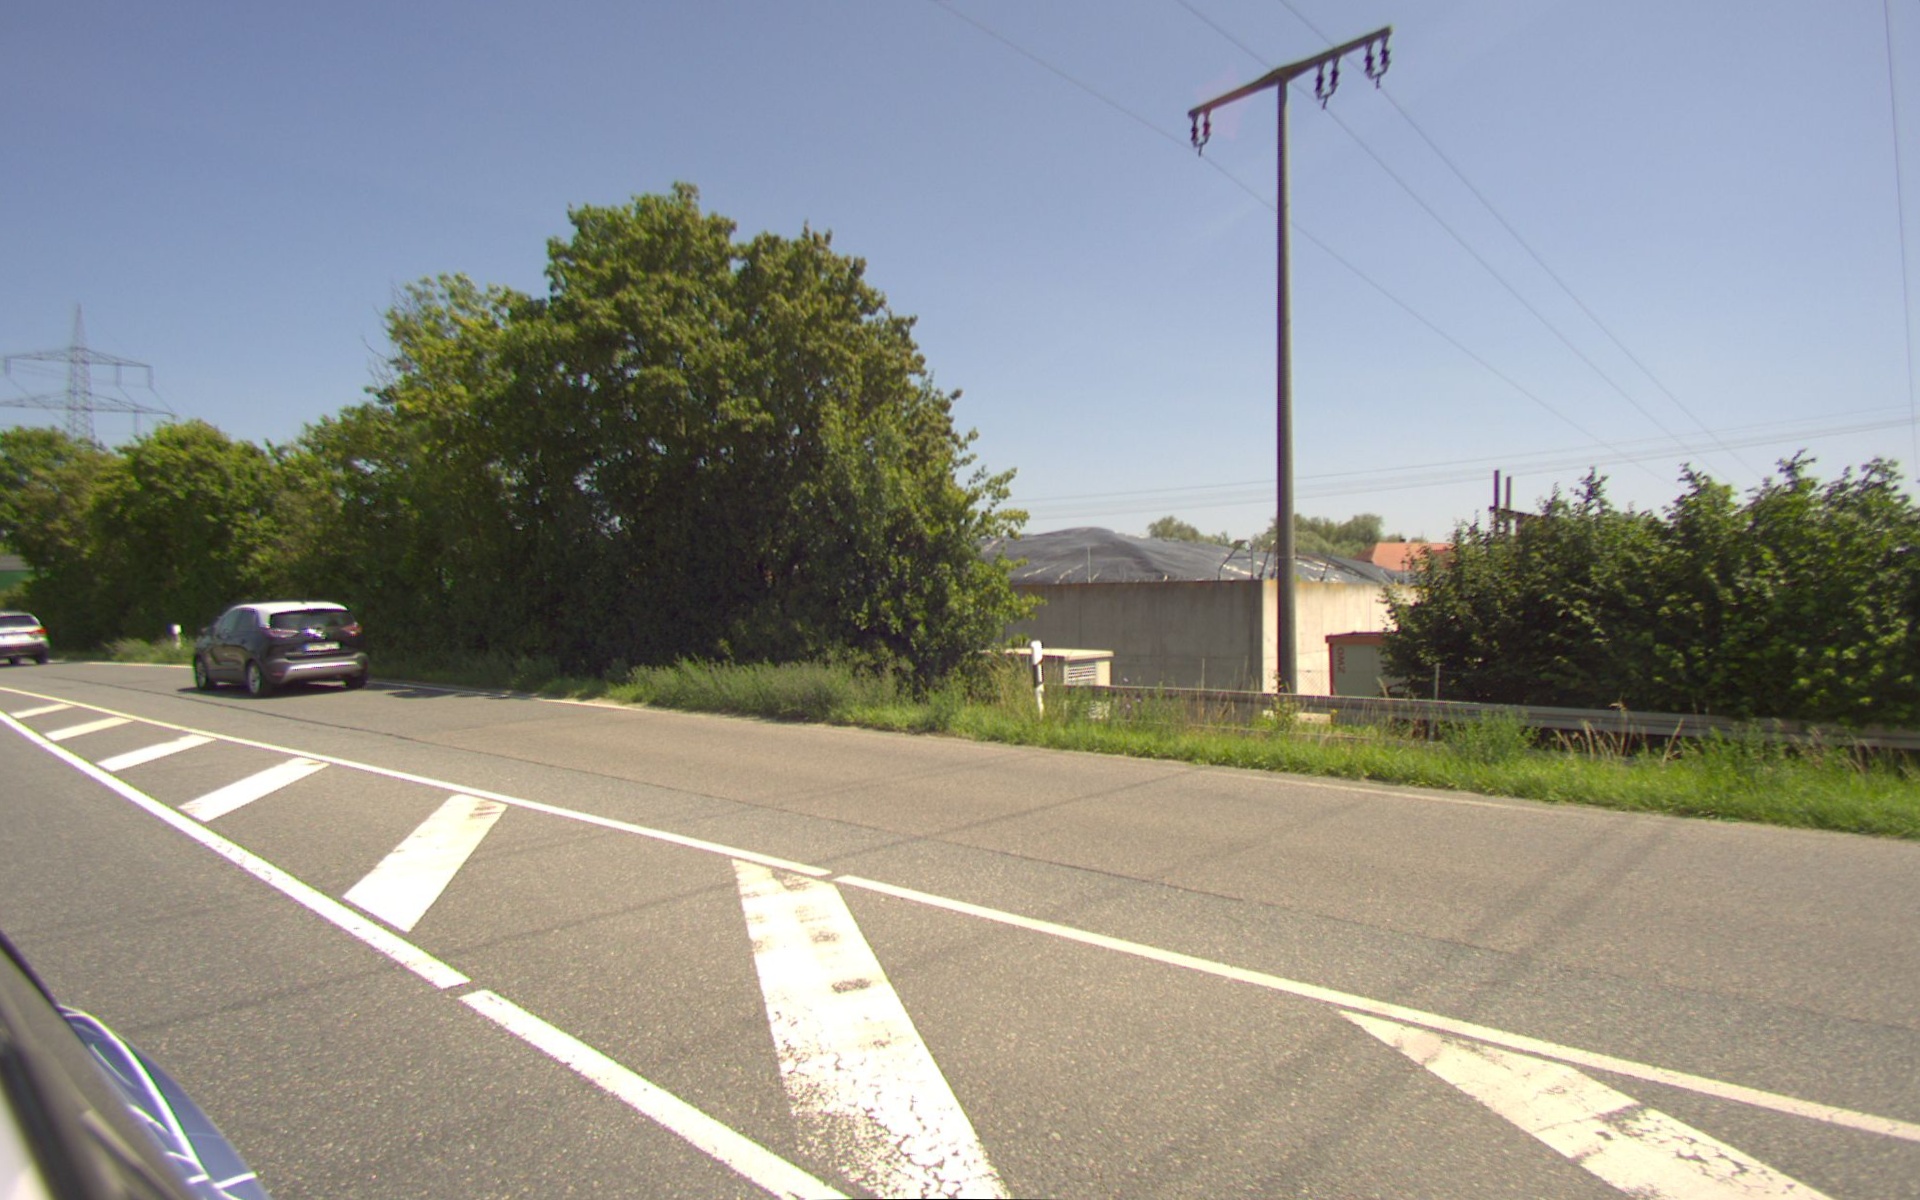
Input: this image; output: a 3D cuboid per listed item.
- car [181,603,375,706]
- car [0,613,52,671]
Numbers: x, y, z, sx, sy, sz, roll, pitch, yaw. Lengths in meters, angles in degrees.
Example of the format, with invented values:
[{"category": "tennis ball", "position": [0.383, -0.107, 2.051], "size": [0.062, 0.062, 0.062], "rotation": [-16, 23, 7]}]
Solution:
[{"category": "car", "position": [-12.206, 0.897, 18.045], "size": [3.952, 1.602, 1.716], "rotation": [-1, 1, 38]}, {"category": "car", "position": [-28.770, 1.244, 29.948], "size": [4.517, 1.601, 1.727], "rotation": [-1, 1, 34]}]
